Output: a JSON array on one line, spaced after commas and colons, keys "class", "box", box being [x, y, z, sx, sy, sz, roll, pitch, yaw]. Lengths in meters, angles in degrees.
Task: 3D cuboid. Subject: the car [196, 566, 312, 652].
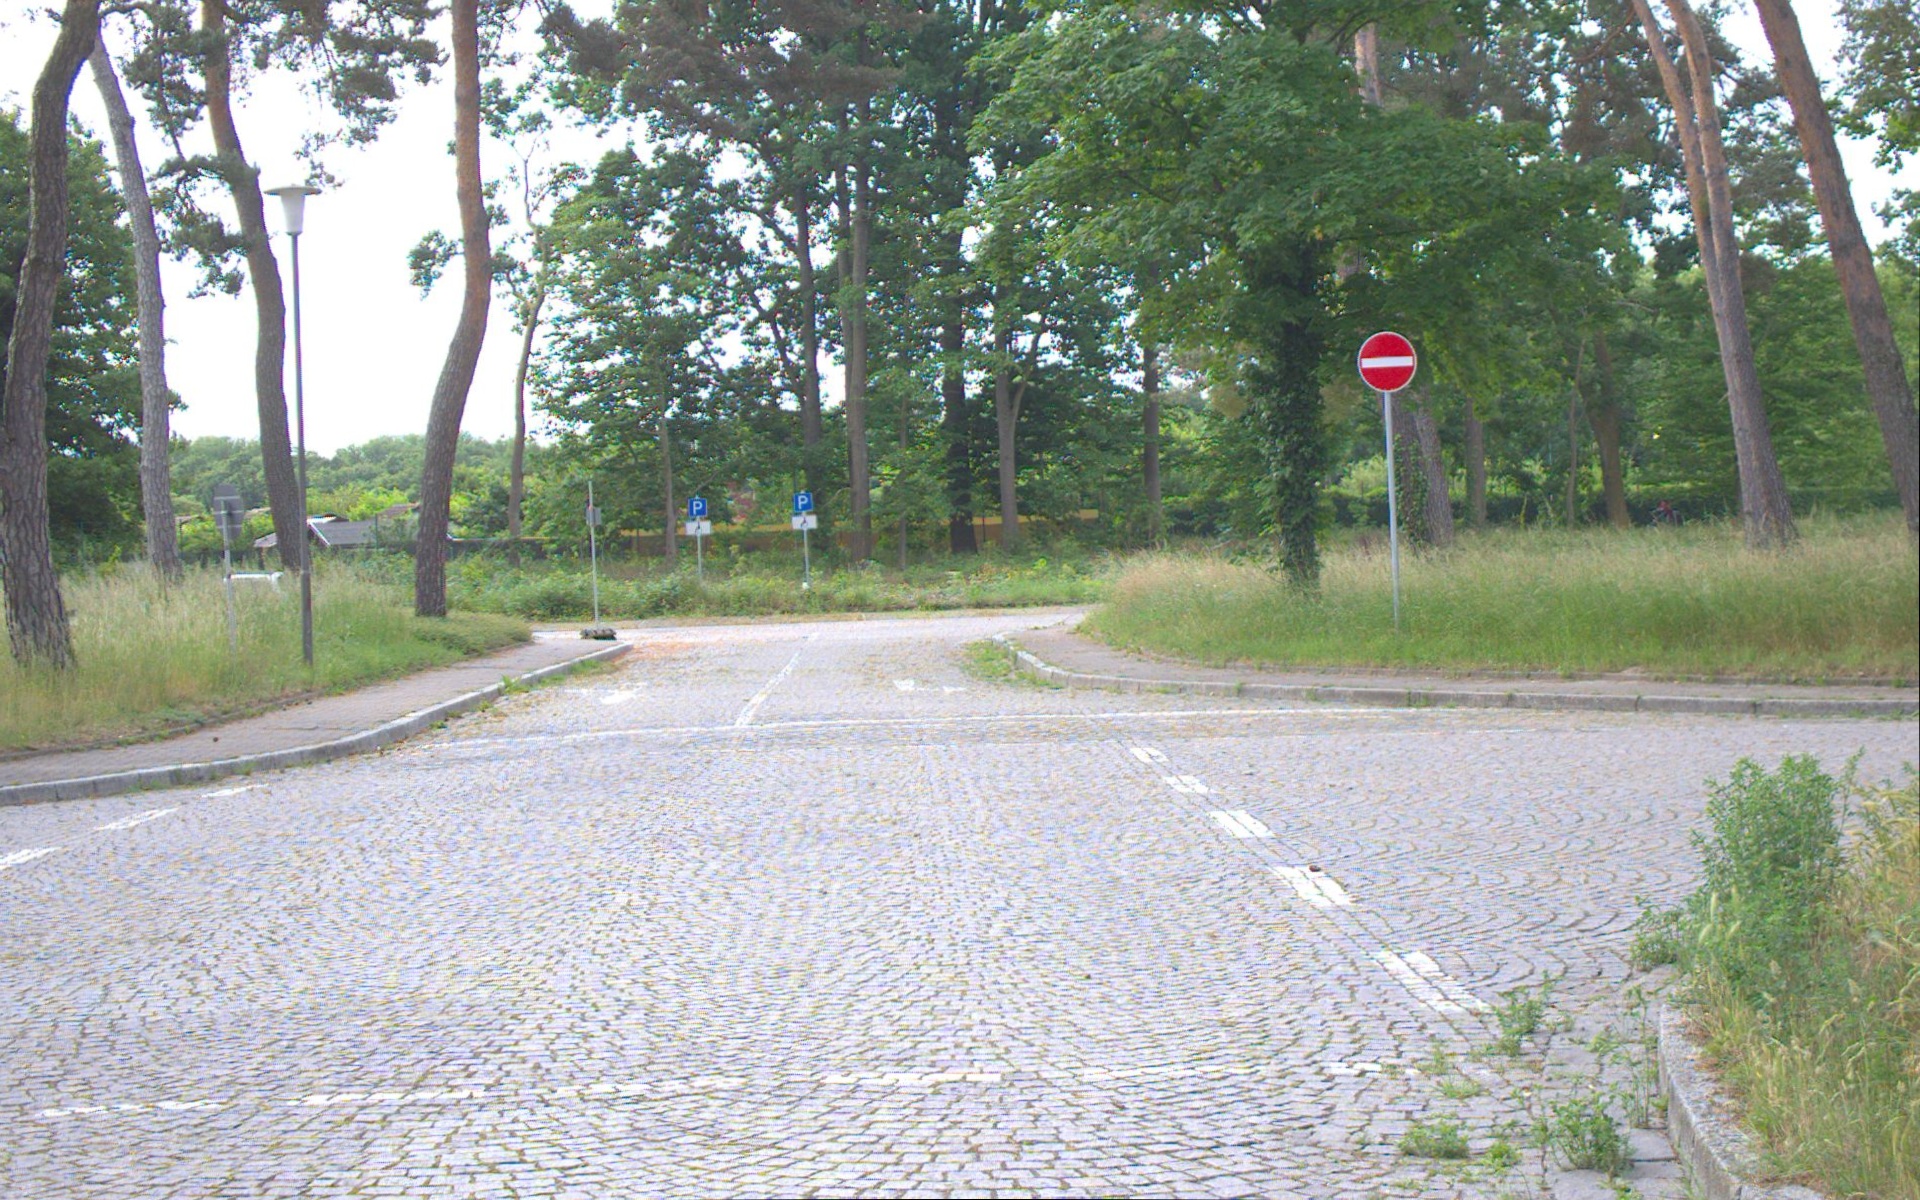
[{"class": "car", "box": [-15.683, 0.183, 76.576, 1.993, 1.840, 4.001, 0, 1, -4]}]
